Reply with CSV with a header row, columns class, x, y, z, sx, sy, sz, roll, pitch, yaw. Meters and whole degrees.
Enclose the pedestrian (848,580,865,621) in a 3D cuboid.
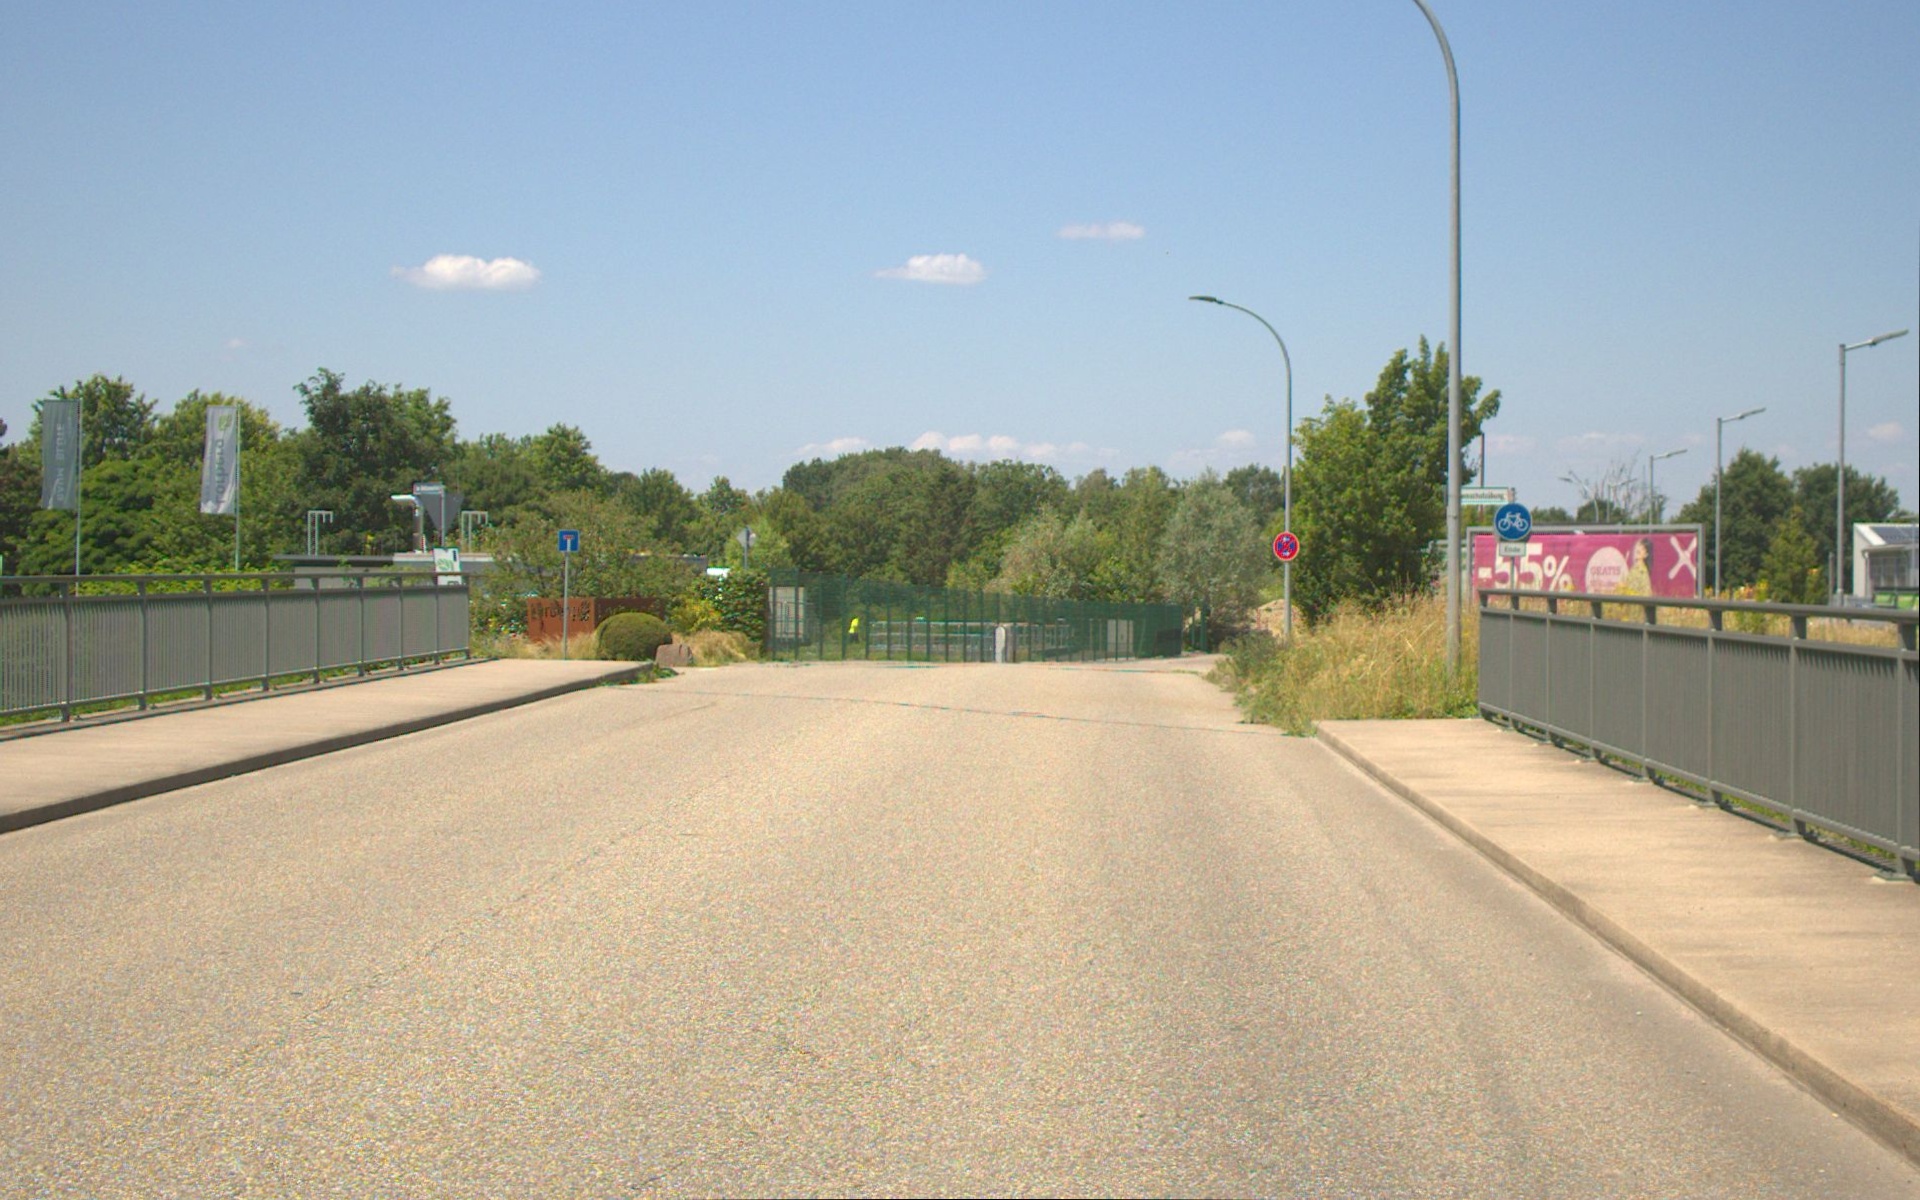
class,x,y,z,sx,sy,sz,roll,pitch,yaw
pedestrian,-4.606,0.020,153.428,0.606,1.833,0.804,0,-1,10
